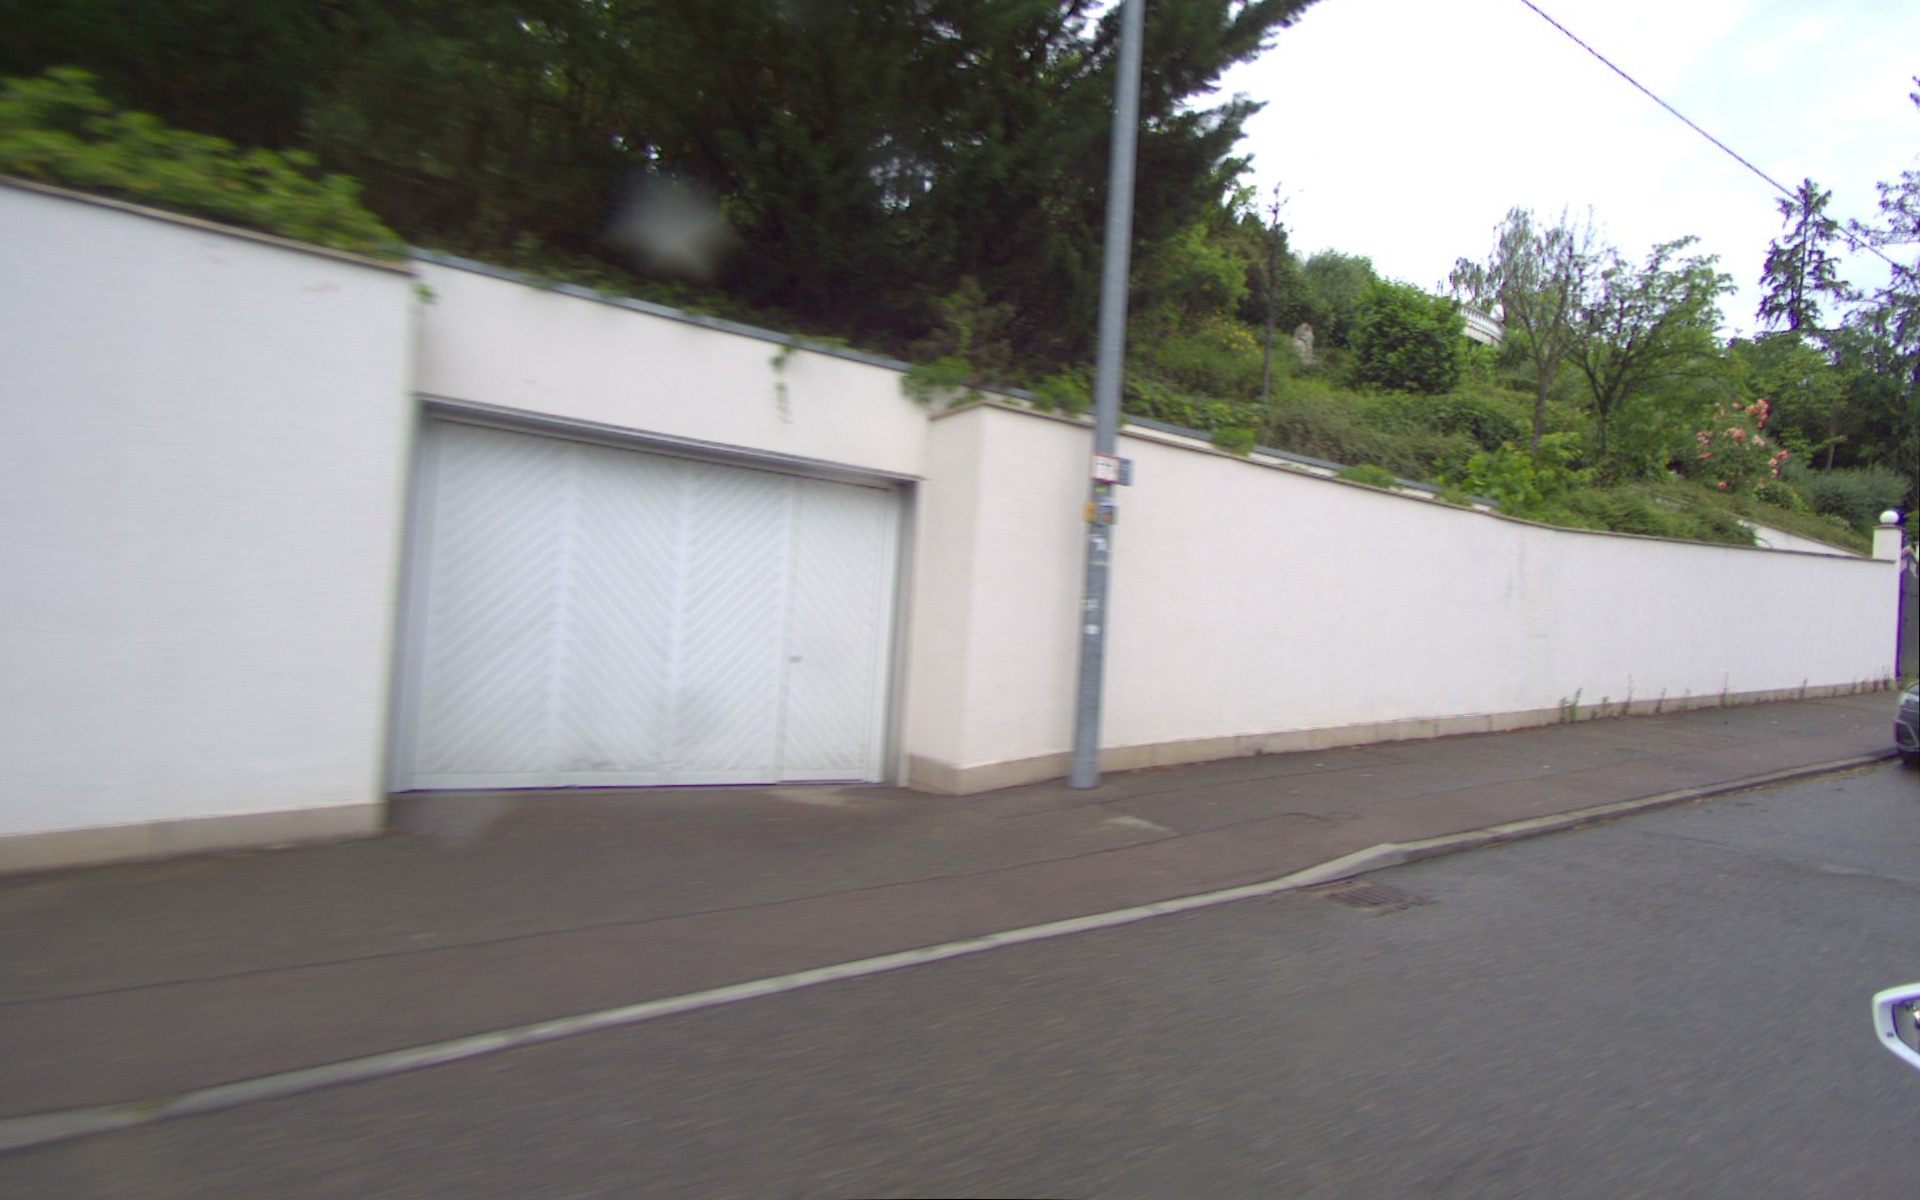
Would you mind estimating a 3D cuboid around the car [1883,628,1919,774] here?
[{"bbox_3d":[11.314,0.976,10.246,4.376,1.376,1.739,0,-1,-33],"label":"car"}]
